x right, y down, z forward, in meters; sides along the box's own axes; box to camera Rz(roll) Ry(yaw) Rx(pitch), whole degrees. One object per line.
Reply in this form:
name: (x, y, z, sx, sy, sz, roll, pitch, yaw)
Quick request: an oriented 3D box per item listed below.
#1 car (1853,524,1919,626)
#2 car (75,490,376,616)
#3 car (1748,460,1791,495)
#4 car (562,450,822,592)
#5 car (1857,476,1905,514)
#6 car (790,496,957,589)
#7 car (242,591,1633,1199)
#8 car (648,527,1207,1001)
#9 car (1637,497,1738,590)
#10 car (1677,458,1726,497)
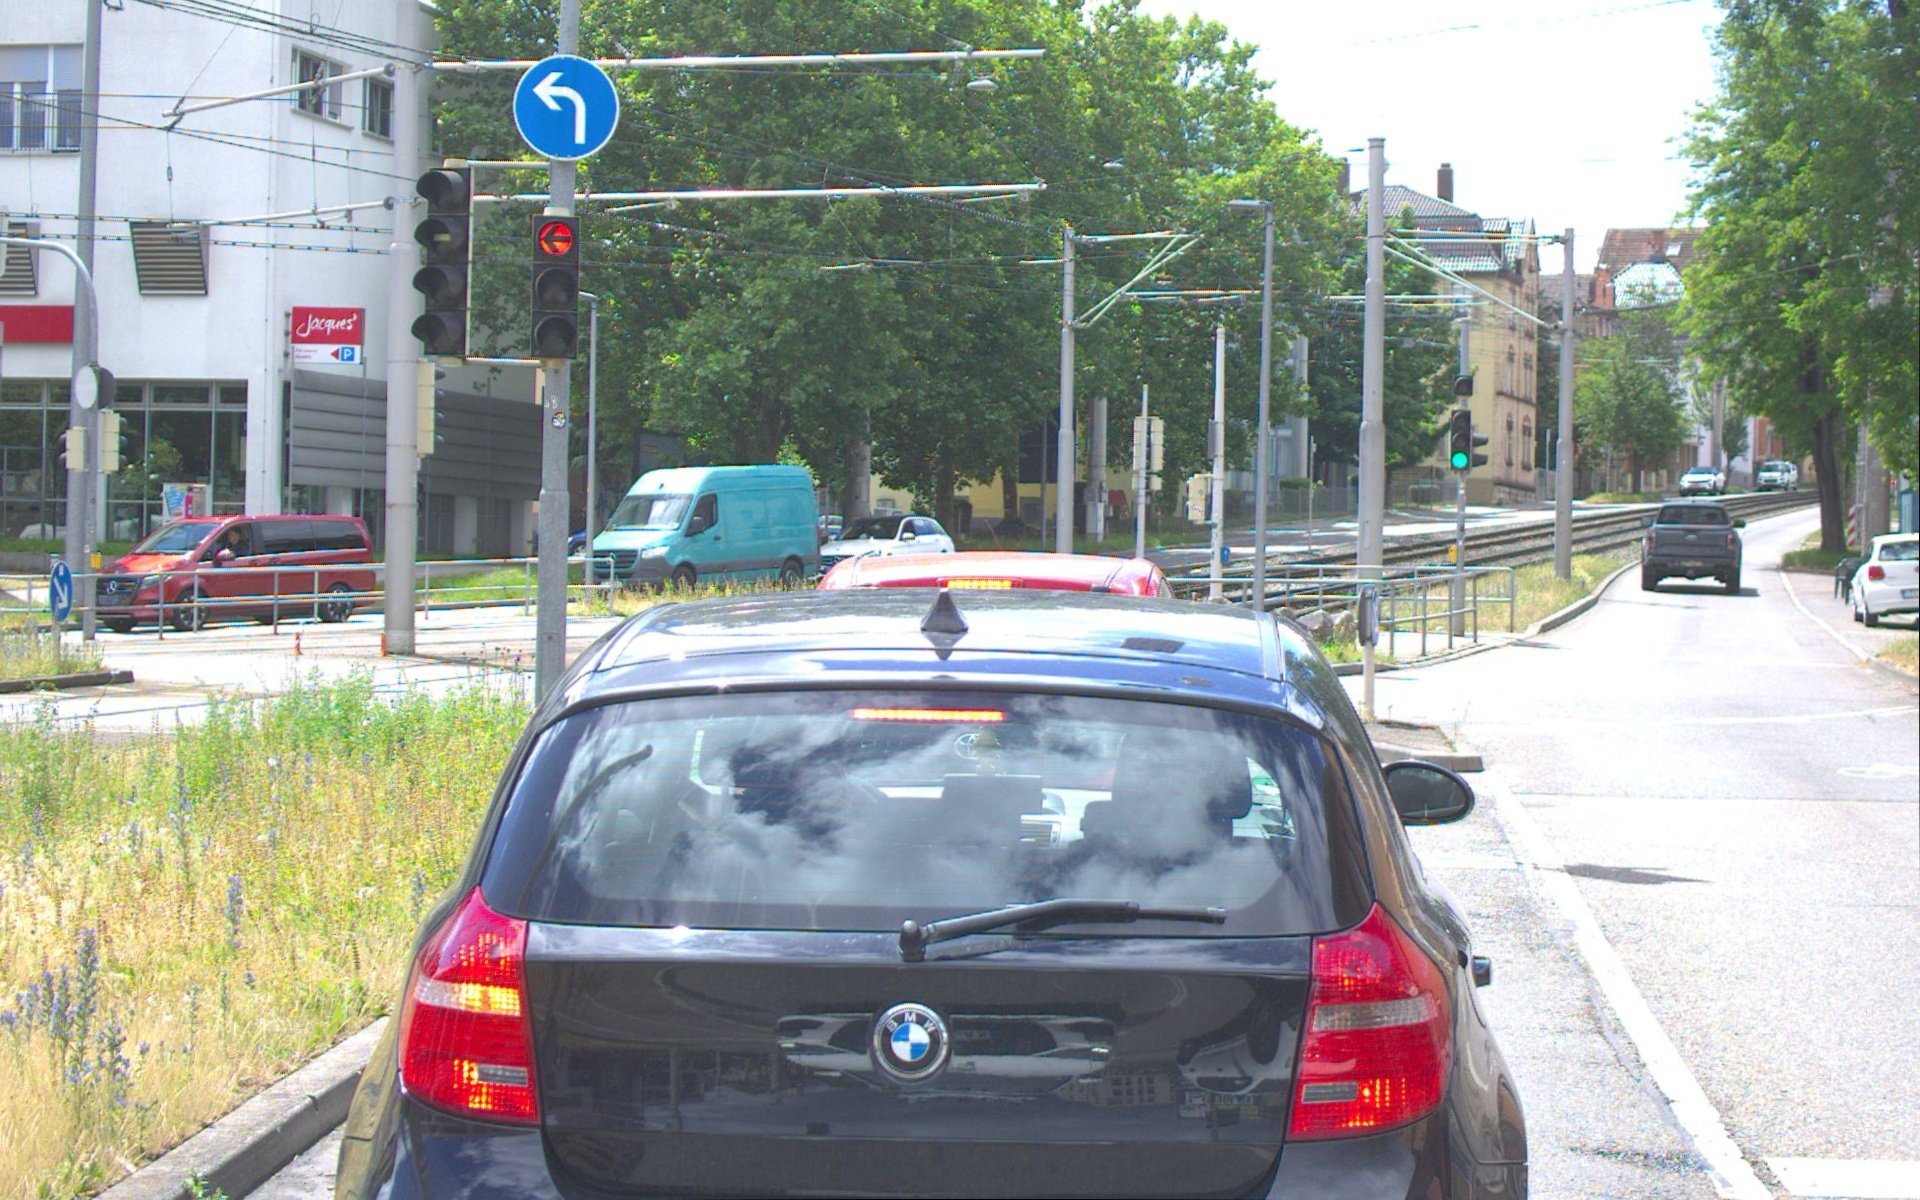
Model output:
car: (15.517, -0.408, 55.924, 1.788, 1.590, 3.998, 0, 0, 13)
car: (-12.130, -0.765, 57.030, 1.857, 2.002, 4.787, 0, 0, 38)
car: (48.748, -7.367, 207.033, 1.996, 2.007, 3.996, 0, 0, 21)
car: (-5.179, -1.509, 67.332, 2.134, 2.645, 5.680, 0, 0, 31)
car: (44.111, -5.016, 164.662, 1.995, 1.656, 3.996, 0, 0, 18)
car: (-1.803, -1.207, 73.598, 1.855, 1.921, 4.792, 0, 0, 21)
car: (-0.115, 0.715, 6.213, 1.701, 1.447, 4.000, 0, 0, -3)
car: (0.035, 0.506, 12.738, 1.625, 1.468, 3.999, 0, 0, 6)
car: (15.276, -1.155, 72.137, 2.000, 1.880, 5.147, 0, 0, 12)
car: (40.513, -6.662, 187.735, 1.996, 2.007, 3.996, 0, 0, 21)
